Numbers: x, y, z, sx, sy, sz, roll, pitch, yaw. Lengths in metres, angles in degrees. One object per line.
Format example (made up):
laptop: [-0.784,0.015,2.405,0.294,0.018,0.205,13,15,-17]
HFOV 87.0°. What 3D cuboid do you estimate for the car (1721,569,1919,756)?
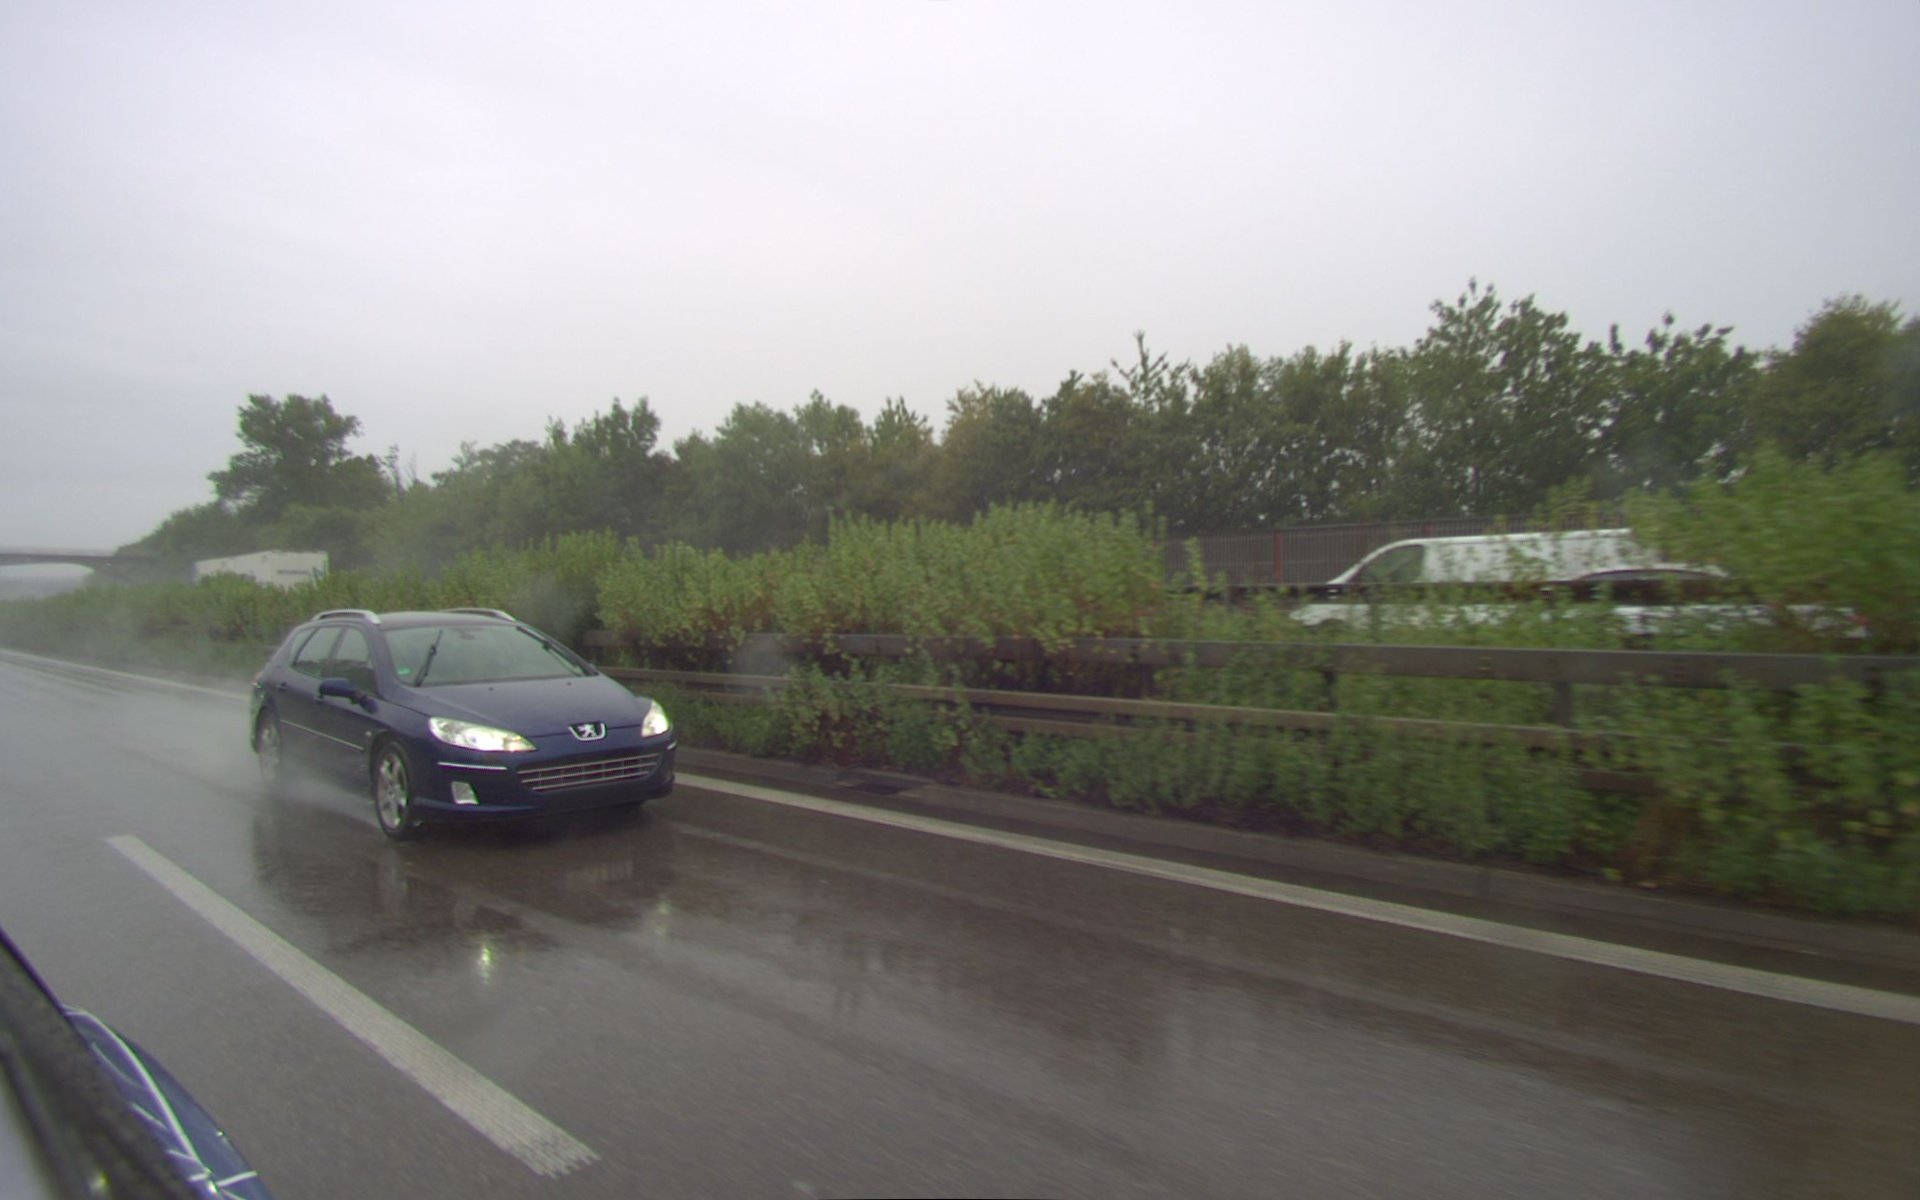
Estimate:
car: [8.857,0.500,8.609,3.682,1.534,1.731,-1,-1,41]

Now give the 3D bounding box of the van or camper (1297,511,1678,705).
van or camper: [7.572,0.120,14.804,4.589,2.412,1.973,-1,0,41]

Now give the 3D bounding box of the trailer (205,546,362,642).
trailer: [-37.913,-0.231,56.280,15.025,4.731,3.827,-1,0,43]

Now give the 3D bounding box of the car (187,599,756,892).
car: [-3.963,0.778,7.675,5.155,1.496,2.033,-1,0,41]

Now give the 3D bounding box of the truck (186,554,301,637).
truck: [-43.698,-0.142,61.579,9.406,4.674,3.795,-2,-1,42]
